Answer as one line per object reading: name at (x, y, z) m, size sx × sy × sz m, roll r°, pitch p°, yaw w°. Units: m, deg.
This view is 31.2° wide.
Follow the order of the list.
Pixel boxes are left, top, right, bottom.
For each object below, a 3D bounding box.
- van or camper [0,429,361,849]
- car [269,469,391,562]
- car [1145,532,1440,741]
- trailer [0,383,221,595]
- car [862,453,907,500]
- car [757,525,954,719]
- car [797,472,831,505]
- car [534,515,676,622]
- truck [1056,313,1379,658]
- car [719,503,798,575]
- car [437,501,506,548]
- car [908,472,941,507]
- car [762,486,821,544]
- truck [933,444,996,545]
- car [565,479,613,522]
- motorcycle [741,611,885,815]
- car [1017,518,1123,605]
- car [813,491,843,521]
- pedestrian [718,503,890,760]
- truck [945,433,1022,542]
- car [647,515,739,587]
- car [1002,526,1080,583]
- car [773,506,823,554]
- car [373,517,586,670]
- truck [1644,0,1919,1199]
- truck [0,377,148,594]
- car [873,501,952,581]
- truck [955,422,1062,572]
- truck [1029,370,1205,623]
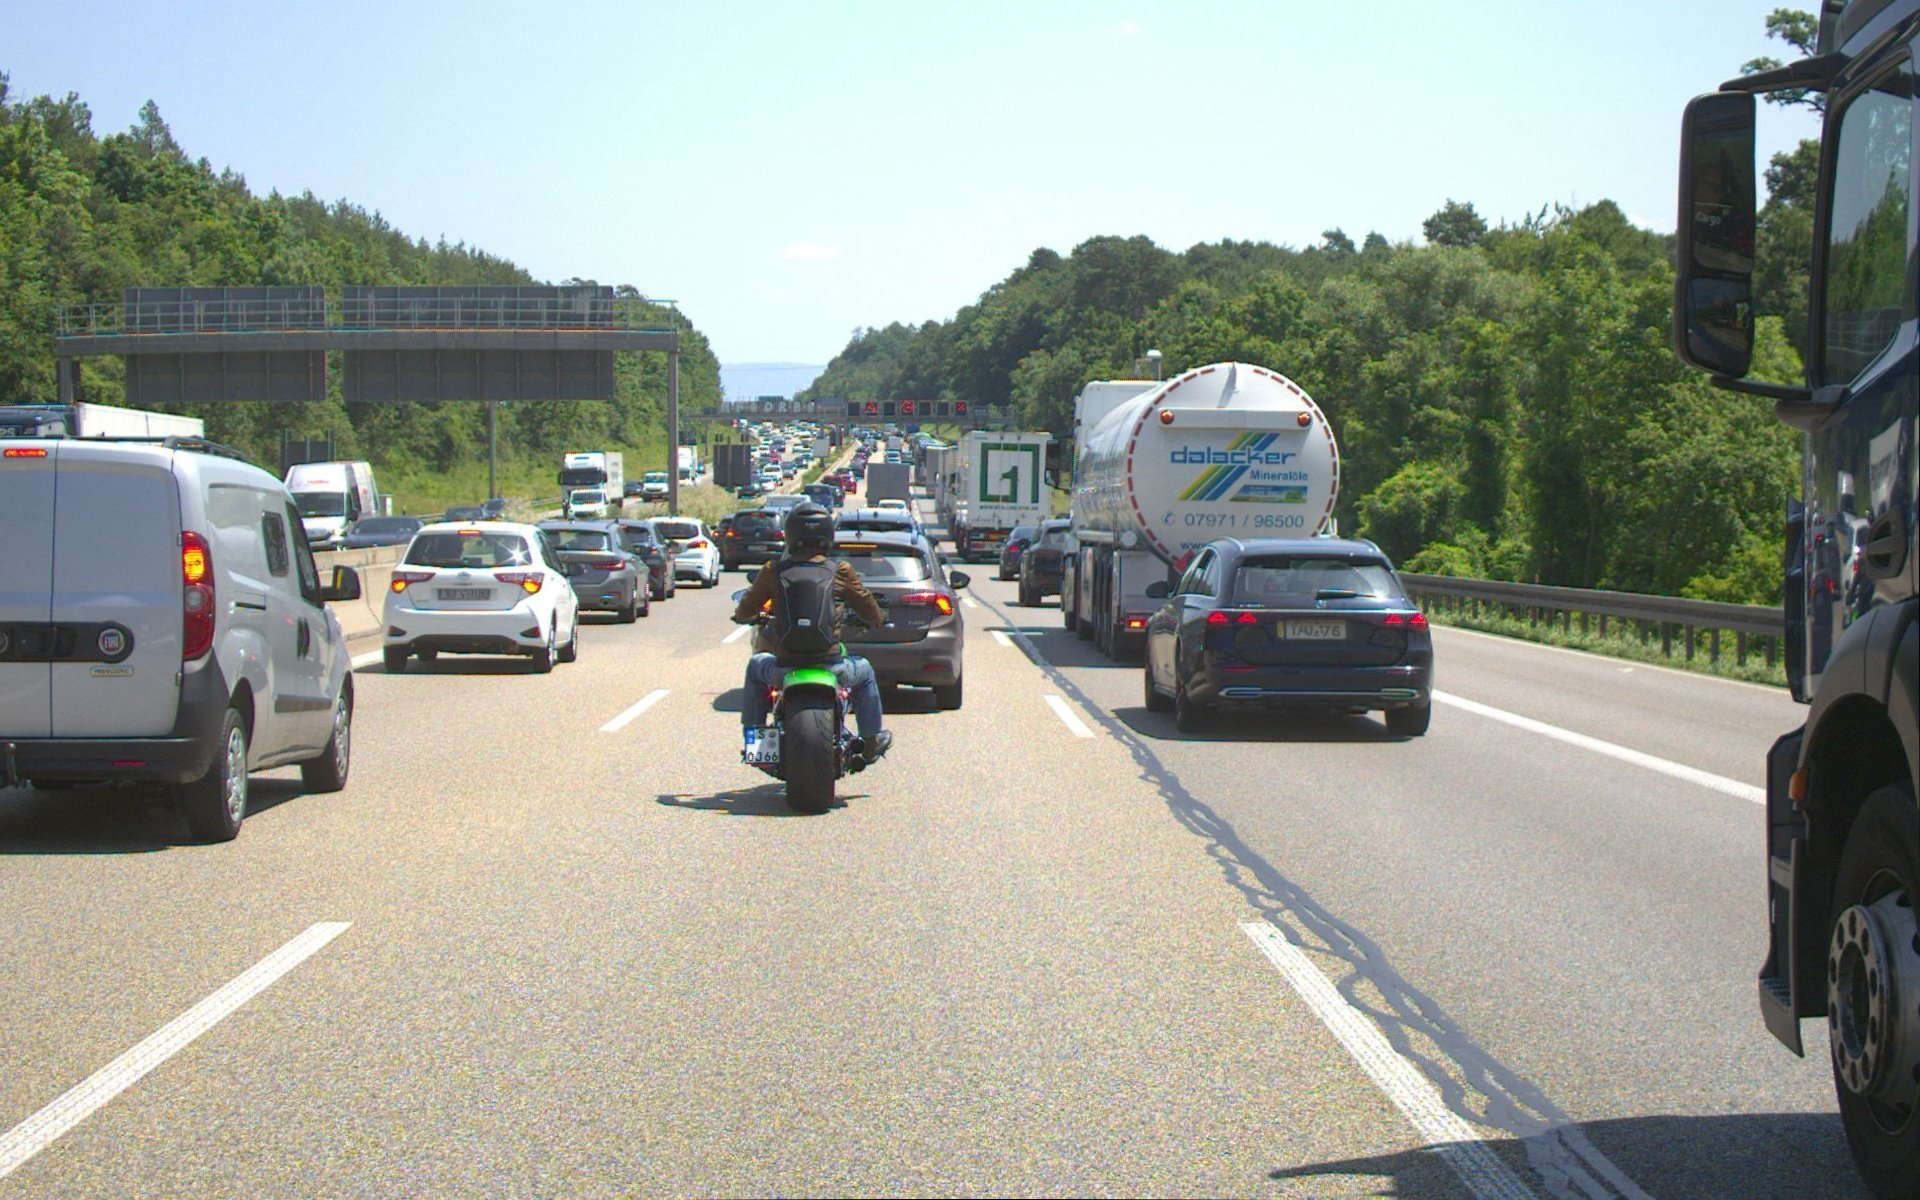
van or camper at (-4.269, 0.156, 17.533) m, size 1.796 × 1.886 × 4.160 m, roll 0°, pitch 1°, yaw -1°
car at (-16.730, -2.263, 91.691) m, size 1.993 × 2.369 × 7.365 m, roll 0°, pitch 1°, yaw -1°
car at (2.500, 0.225, 26.743) m, size 1.828 × 1.465 × 4.000 m, roll 0°, pitch 1°, yaw -1°
trailer at (-20.796, -2.456, 81.519) m, size 3.724 × 4.512 × 13.332 m, roll -2°, pitch 1°, yaw -1°
car at (-4.314, -7.033, 196.156) m, size 2.504 × 2.578 × 5.017 m, roll 0°, pitch 1°, yaw -1°
car at (-0.897, 0.137, 29.667) m, size 1.532 × 1.504 × 4.000 m, roll -2°, pitch 1°, yaw -2°
car at (-9.114, -6.960, 214.793) m, size 1.993 × 2.007 × 4.000 m, roll 0°, pitch 1°, yaw -1°
car at (-5.111, -0.485, 49.852) m, size 1.699 × 1.473 × 4.000 m, roll 0°, pitch 1°, yaw -1°
truck at (2.948, -1.299, 42.216) m, size 2.988 × 3.659 × 9.288 m, roll -2°, pitch 1°, yaw -1°
car at (-5.276, -1.615, 90.536) m, size 1.880 × 1.853 × 4.000 m, roll 0°, pitch 1°, yaw -1°
car at (-16.929, -2.636, 119.384) m, size 1.880 × 1.588 × 4.000 m, roll 0°, pitch 1°, yaw -1°
car at (-2.234, -6.884, 214.831) m, size 1.993 × 2.007 × 4.000 m, roll -2°, pitch 1°, yaw -1°
car at (-6.228, -3.140, 127.590) m, size 1.929 × 2.007 × 4.000 m, roll -2°, pitch 1°, yaw 0°
truck at (0.200, -5.496, 180.072) m, size 3.033 × 5.121 × 9.983 m, roll 1°, pitch 1°, yaw -1°
car at (-18.690, -5.015, 173.437) m, size 1.880 × 2.007 × 4.469 m, roll -3°, pitch 1°, yaw -1°
motorcycle at (-0.788, 0.592, 18.962) m, size 0.691 × 1.012 × 2.121 m, roll 0°, pitch 1°, yaw 0°
car at (2.016, -0.744, 63.833) m, size 1.787 × 1.550 × 3.804 m, roll 0°, pitch 1°, yaw -1°
car at (-9.031, -6.411, 235.279) m, size 1.993 × 2.007 × 4.000 m, roll 0°, pitch 1°, yaw -1°
pedestrian at (-0.851, 0.162, 19.033) m, size 0.849 × 1.357 × 0.961 m, roll -2°, pitch 1°, yaw 0°
truck at (0.952, -4.849, 149.273) m, size 3.033 × 4.527 × 9.983 m, roll 1°, pitch 1°, yaw -1°
car at (-5.631, -1.066, 72.965) m, size 1.699 × 1.473 × 4.000 m, roll 0°, pitch 1°, yaw -1°
car at (2.019, -1.164, 86.546) m, size 1.787 × 1.370 × 3.804 m, roll 0°, pitch 1°, yaw -1°
car at (-7.158, -3.106, 152.270) m, size 1.993 × 2.007 × 4.000 m, roll -2°, pitch 1°, yaw -1°
car at (-4.900, -0.112, 35.494) m, size 1.699 × 1.473 × 4.000 m, roll 0°, pitch 1°, yaw -1°
truck at (3.255, -0.625, 4.249) m, size 2.688 × 3.863 × 9.781 m, roll -3°, pitch 1°, yaw -1°
truck at (-20.727, -2.415, 76.192) m, size 3.724 × 4.512 × 7.327 m, roll -2°, pitch 1°, yaw -2°
car at (-1.269, -1.573, 92.498) m, size 1.993 × 2.007 × 4.000 m, roll -2°, pitch 1°, yaw -1°
truck at (1.457, -3.270, 109.584) m, size 3.033 × 4.527 × 9.983 m, roll 1°, pitch 1°, yaw -1°
truck at (2.273, -1.486, 50.970) m, size 1.993 × 3.510 × 4.752 m, roll -2°, pitch 1°, yaw -3°
